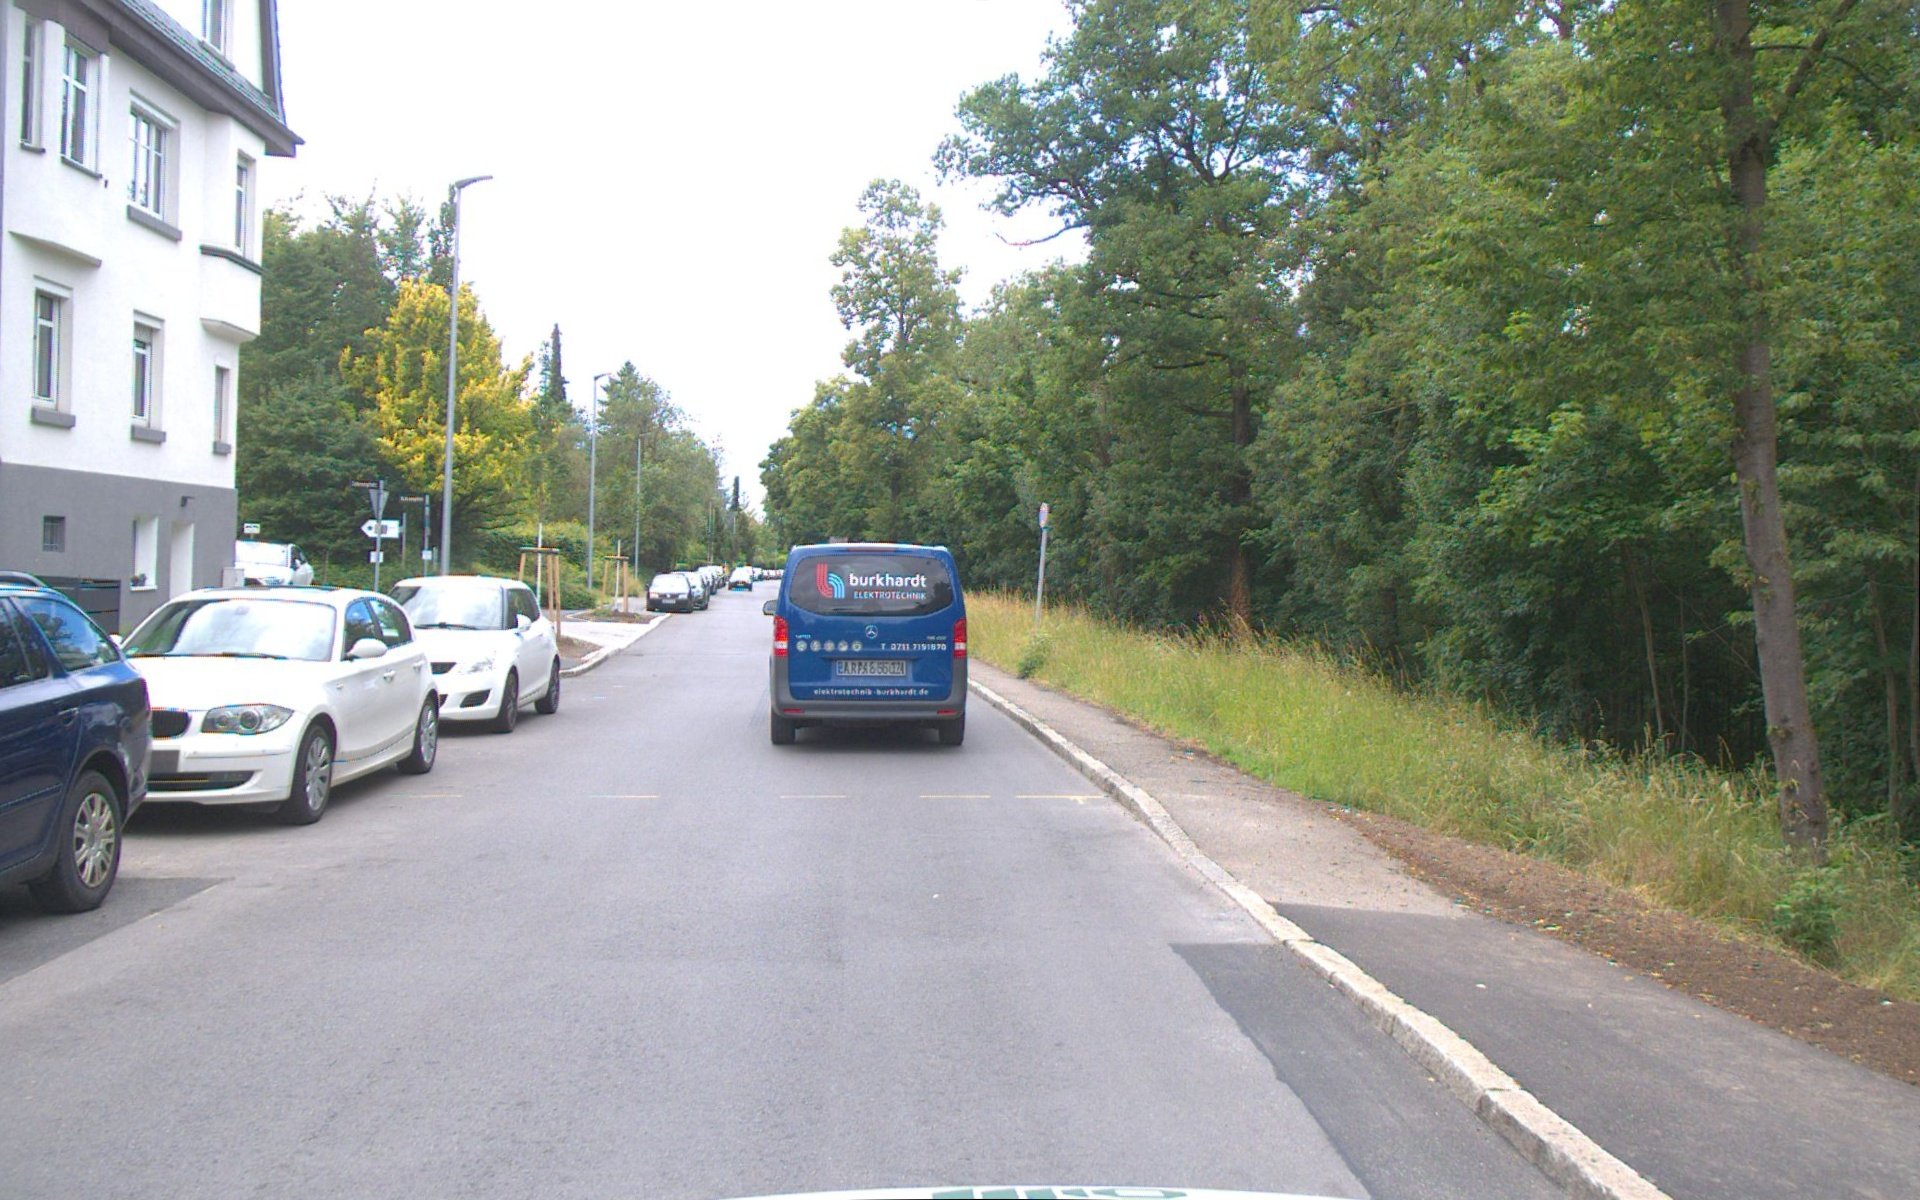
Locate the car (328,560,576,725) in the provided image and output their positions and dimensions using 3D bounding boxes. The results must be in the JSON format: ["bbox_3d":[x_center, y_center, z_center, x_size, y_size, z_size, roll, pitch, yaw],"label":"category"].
[{"bbox_3d":[-5.155,0.403,17.291,1.610,1.495,4.067,1,0,-5],"label":"car"}]

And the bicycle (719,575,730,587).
[{"bbox_3d":[-27.258,-2.163,191.623,0.888,1.273,2.913,6,0,-4],"label":"bicycle"}]

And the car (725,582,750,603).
[{"bbox_3d":[-17.277,-0.583,128.294,1.747,1.450,4.481,3,0,-9],"label":"car"}]

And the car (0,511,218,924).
[{"bbox_3d":[-4.552,0.450,6.225,1.693,1.600,4.810,0,1,-5],"label":"car"}]

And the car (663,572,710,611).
[{"bbox_3d":[-11.346,-0.365,68.738,1.674,1.508,4.489,2,1,-7],"label":"car"}]

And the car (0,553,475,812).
[{"bbox_3d":[-4.786,0.475,11.526,1.690,1.414,4.722,1,0,-4],"label":"car"}]

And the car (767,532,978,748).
[{"bbox_3d":[-0.989,0.270,16.642,1.852,1.876,3.995,-1,2,-7],"label":"car"}]

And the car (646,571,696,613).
[{"bbox_3d":[-11.106,-0.315,63.761,1.651,1.508,4.685,2,1,-8],"label":"car"}]

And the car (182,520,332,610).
[{"bbox_3d":[-14.478,-0.672,34.345,1.872,1.559,4.583,6,-1,-12],"label":"car"}]
